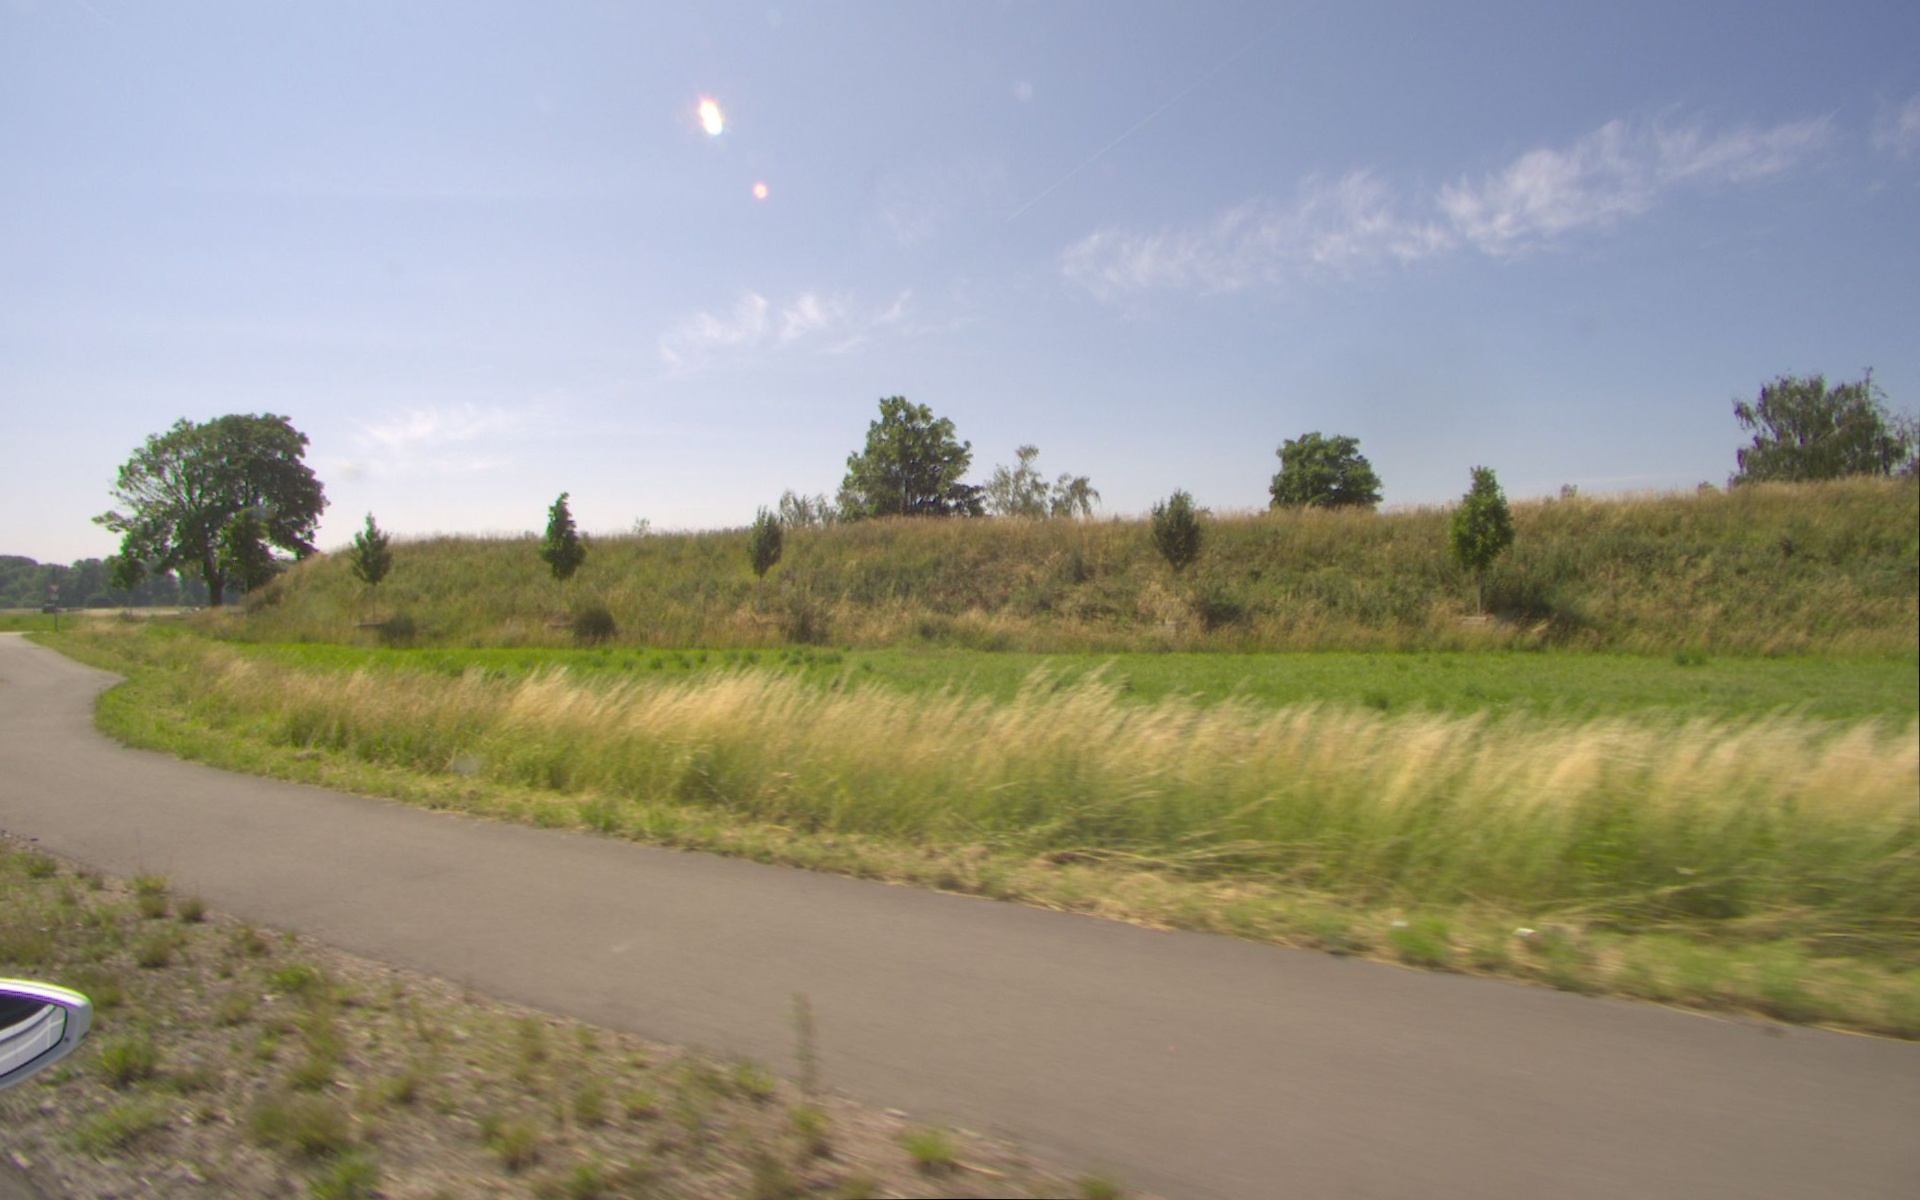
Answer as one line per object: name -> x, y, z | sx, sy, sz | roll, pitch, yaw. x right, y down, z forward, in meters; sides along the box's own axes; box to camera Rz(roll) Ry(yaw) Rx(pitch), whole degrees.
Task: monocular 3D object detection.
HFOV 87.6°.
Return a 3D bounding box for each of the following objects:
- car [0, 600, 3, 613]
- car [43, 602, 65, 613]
car -> -110.412, 0.719, 113.935 | 1.784, 1.496, 4.381 | -2, 0, -38
car -> -135.914, 1.111, 150.241 | 1.782, 1.541, 3.856 | 2, -1, -34
